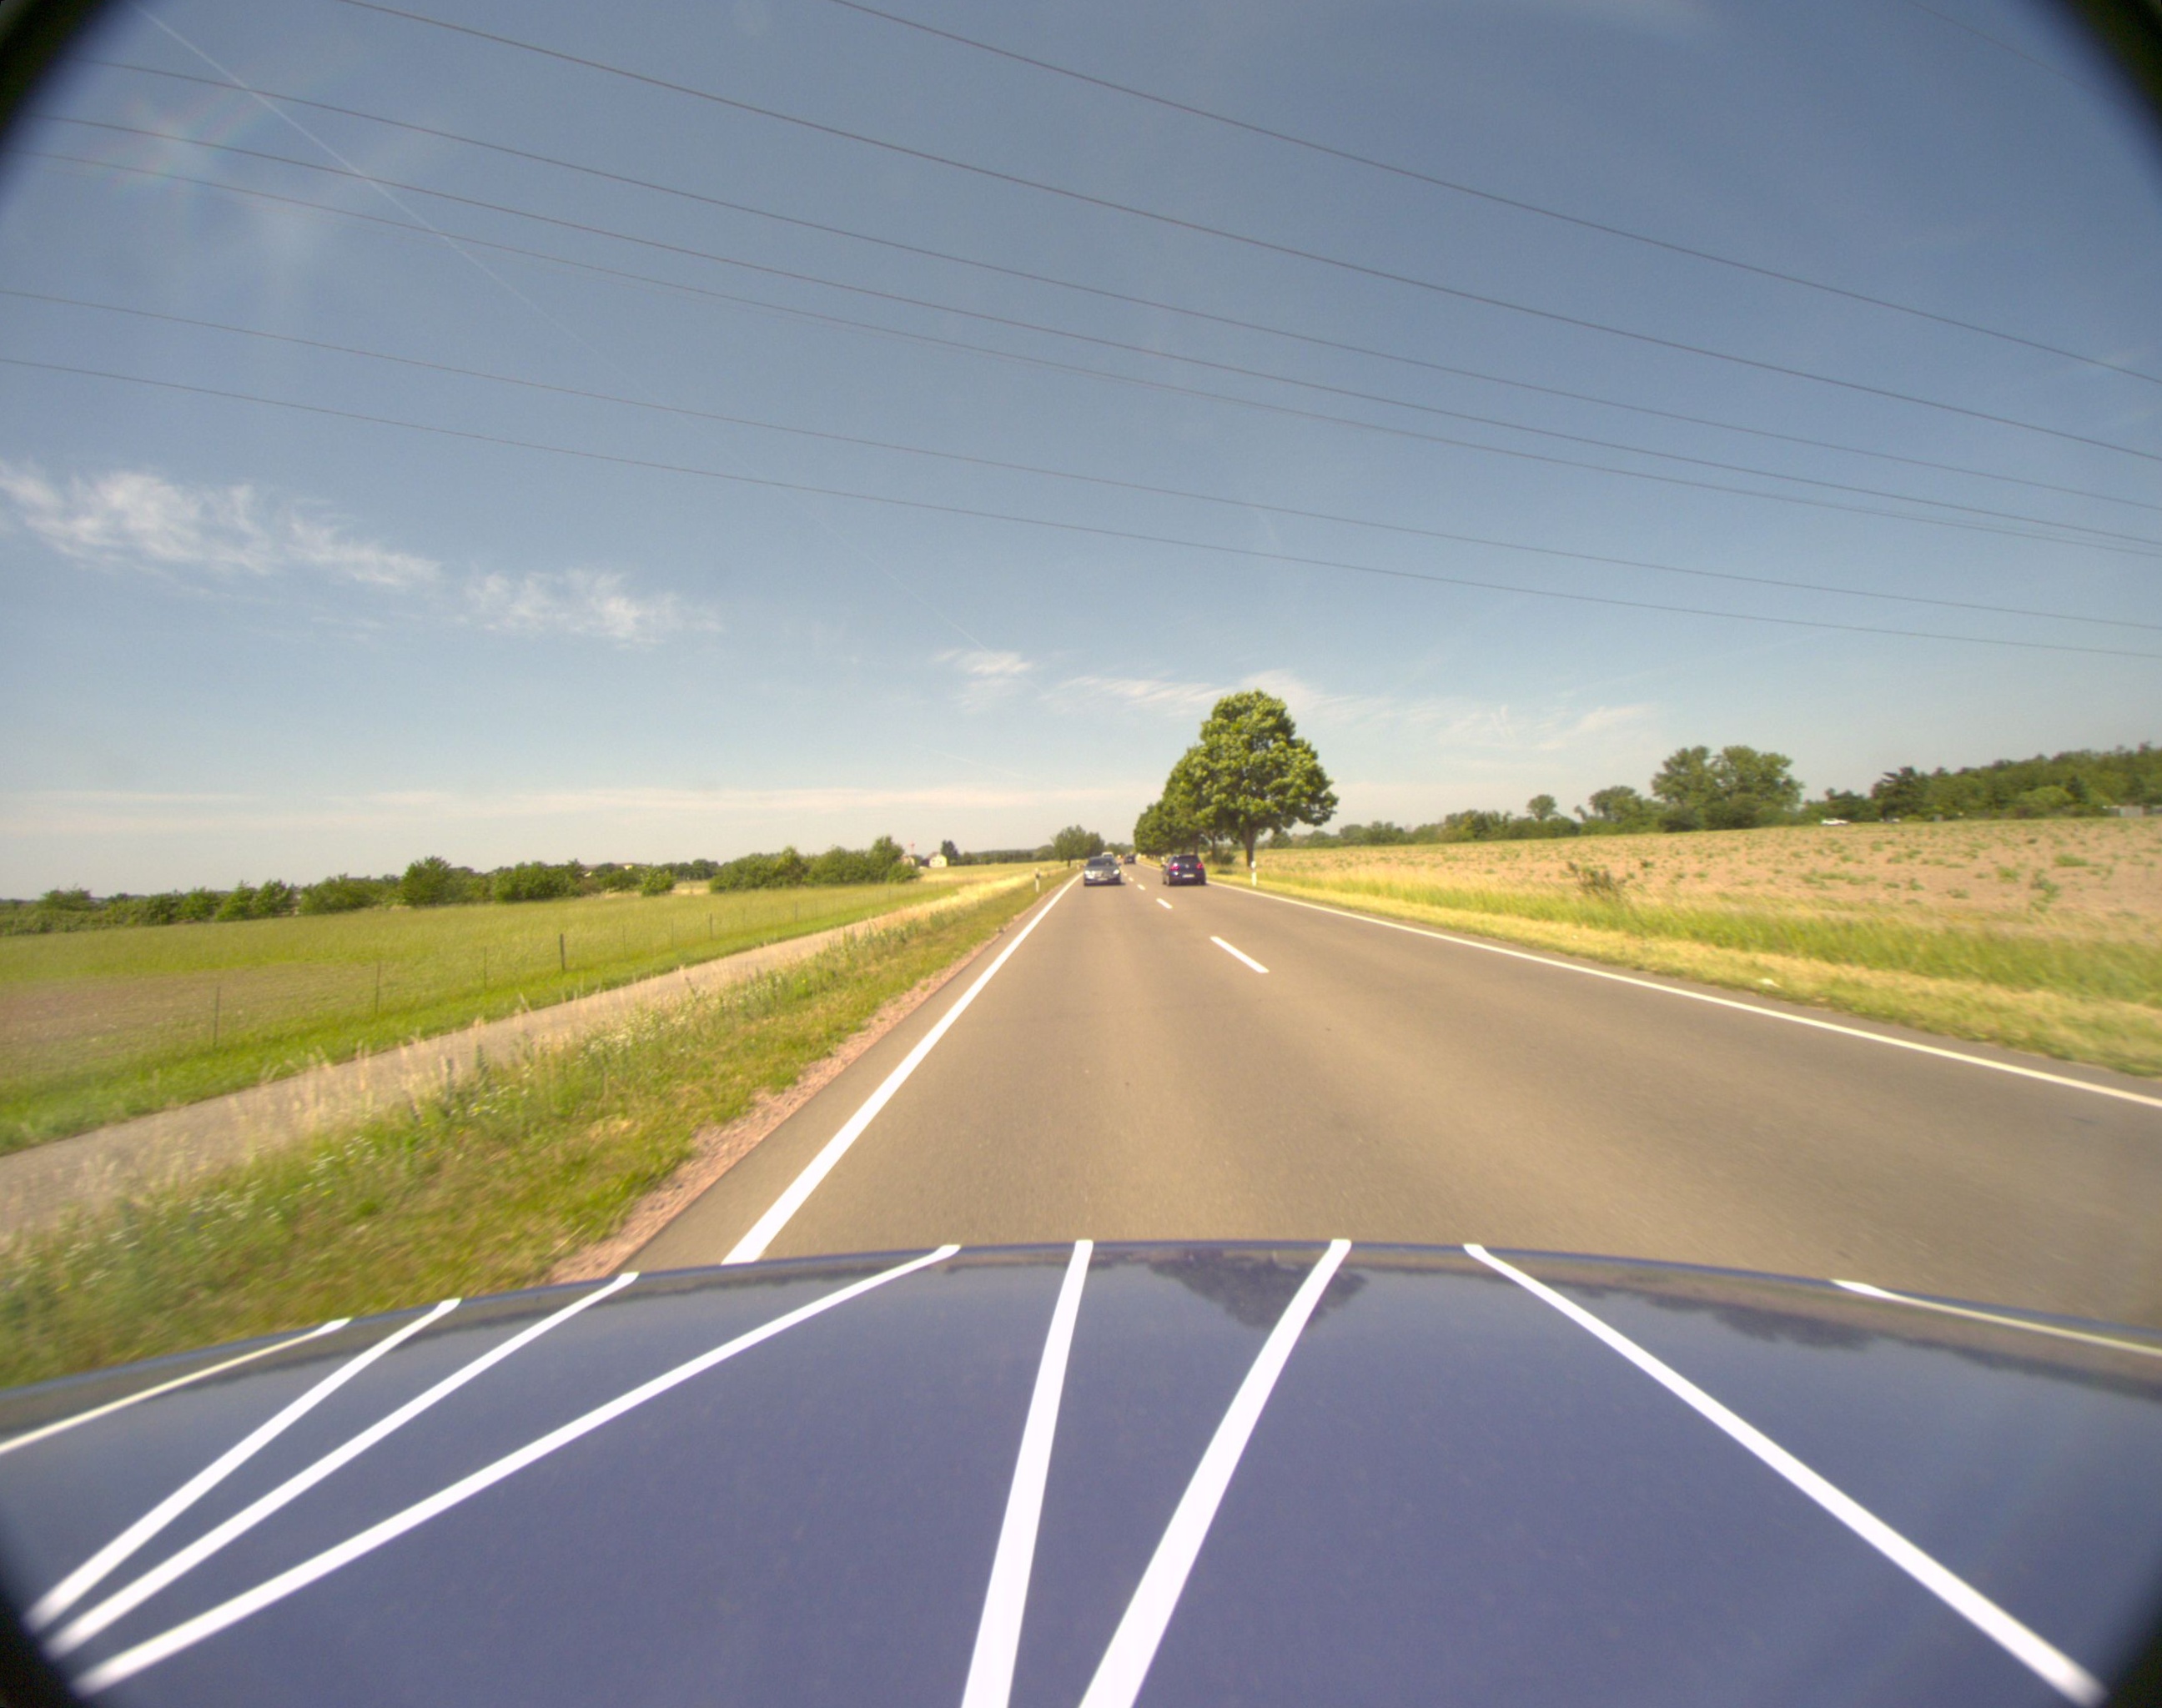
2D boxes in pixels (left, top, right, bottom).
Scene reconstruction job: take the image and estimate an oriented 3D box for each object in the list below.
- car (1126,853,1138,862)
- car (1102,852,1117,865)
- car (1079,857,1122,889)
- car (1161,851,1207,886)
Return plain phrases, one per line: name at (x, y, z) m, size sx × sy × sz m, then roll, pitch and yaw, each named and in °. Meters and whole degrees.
car at (7.880, 0.511, 116.718) m, size 1.709 × 1.325 × 4.001 m, roll -3°, pitch 0°, yaw 3°
car at (4.396, 0.711, 116.621) m, size 1.998 × 1.907 × 4.207 m, roll -3°, pitch 0°, yaw 3°
car at (0.927, 0.869, 36.787) m, size 1.953 × 1.390 × 4.000 m, roll -1°, pitch 0°, yaw 1°
car at (4.841, 0.647, 36.035) m, size 1.738 × 1.439 × 4.000 m, roll -2°, pitch 1°, yaw 2°
